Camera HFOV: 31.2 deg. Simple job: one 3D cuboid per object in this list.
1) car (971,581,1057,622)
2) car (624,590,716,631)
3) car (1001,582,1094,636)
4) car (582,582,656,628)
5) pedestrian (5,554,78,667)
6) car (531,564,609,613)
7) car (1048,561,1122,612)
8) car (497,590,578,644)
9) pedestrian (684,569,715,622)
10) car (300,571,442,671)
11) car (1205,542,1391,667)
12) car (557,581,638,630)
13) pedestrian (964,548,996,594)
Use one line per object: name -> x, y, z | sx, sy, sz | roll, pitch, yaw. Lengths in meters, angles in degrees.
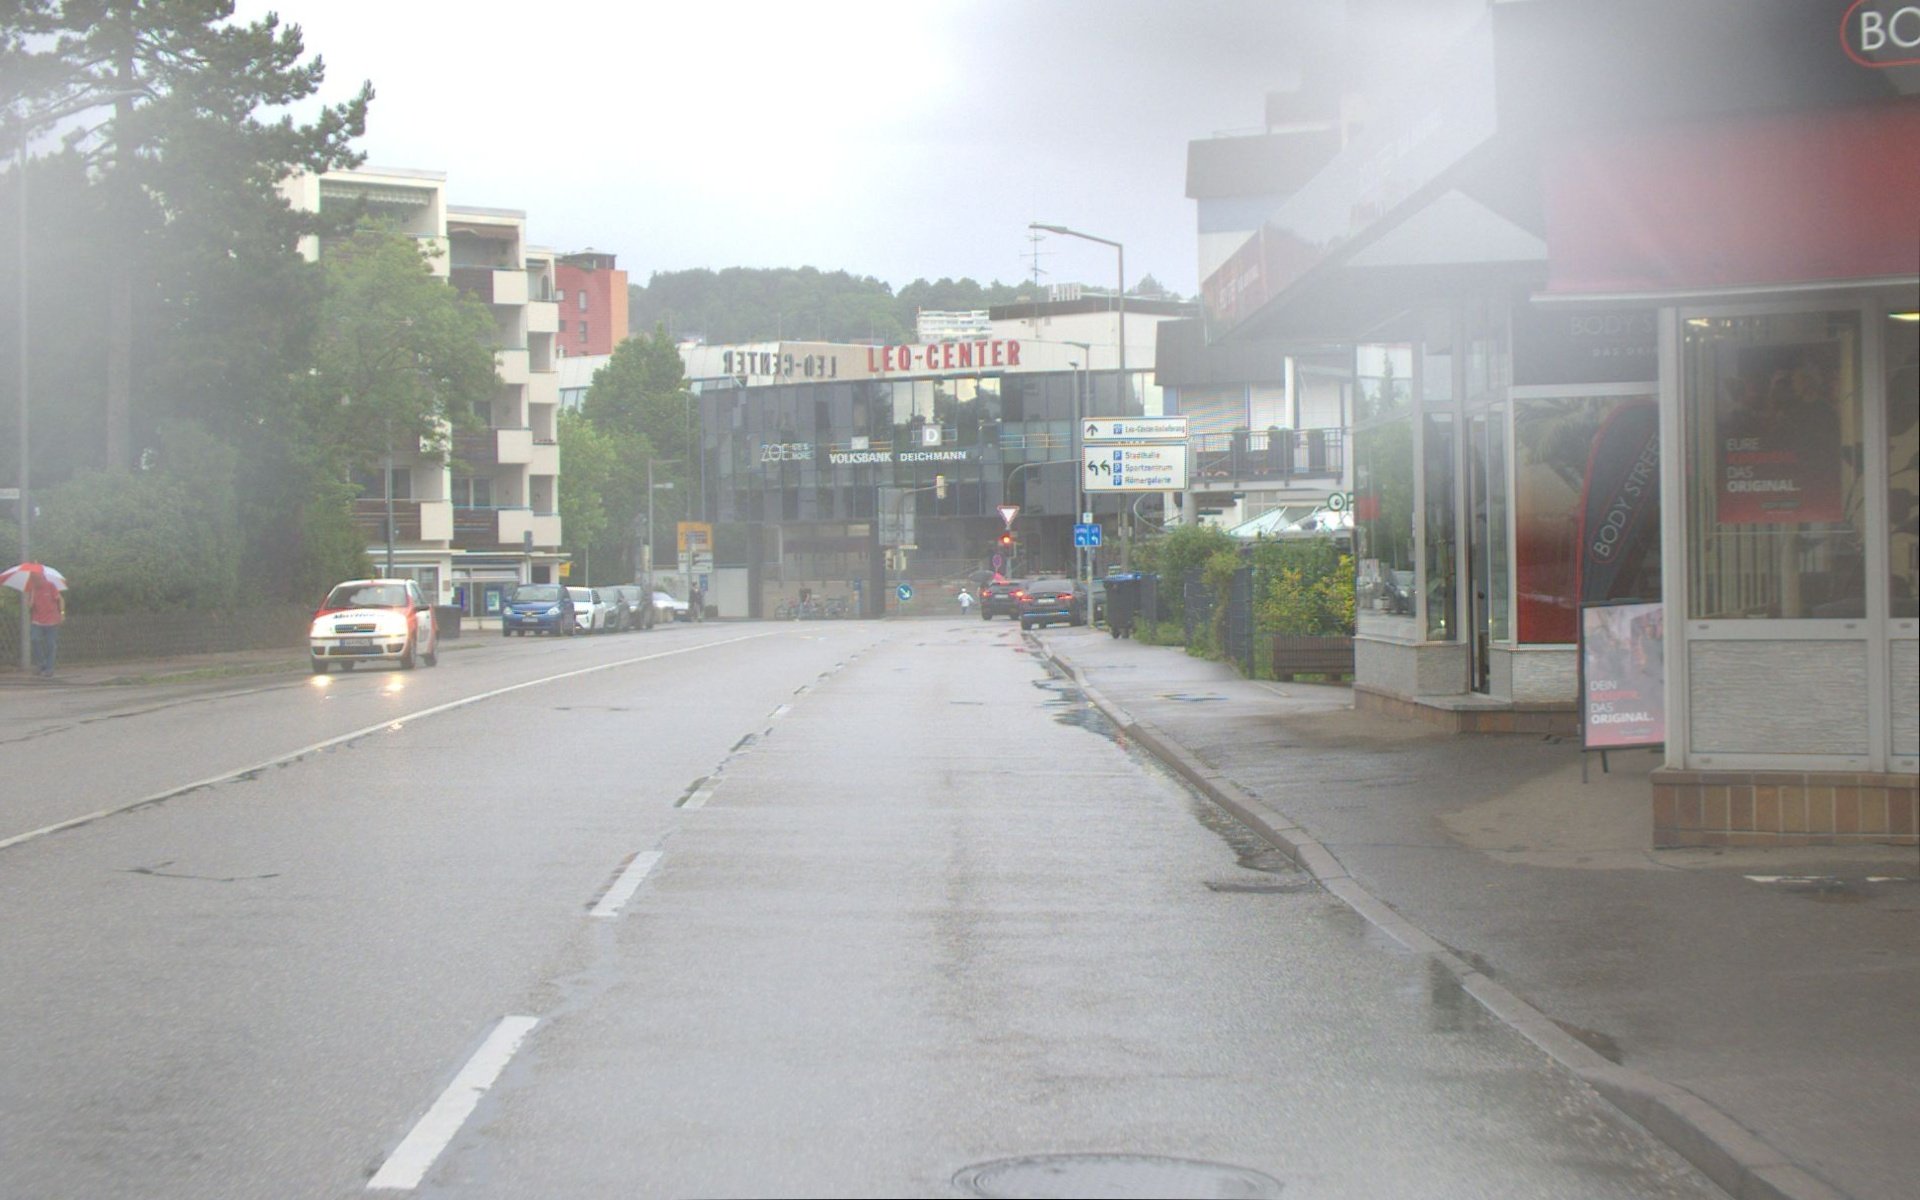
car -> 1.954, 0.040, 123.183 | 1.806, 1.414, 3.996 | -1, 0, 21
car -> -12.840, 0.458, 151.954 | 1.994, 1.507, 4.433 | 2, 2, -35
car -> 2.676, 0.293, 103.627 | 1.994, 1.528, 4.644 | 0, -1, 12
car -> -11.563, 0.162, 116.861 | 1.934, 1.536, 4.272 | 0, 0, 2
pedestrian -> -13.248, 0.156, 49.605 | 0.869, 1.601, 1.103 | 0, -1, -7
car -> -11.936, -0.361, 105.455 | 1.693, 1.459, 4.683 | 0, 0, 2
car -> 4.012, -0.428, 109.787 | 1.699, 1.481, 3.998 | -4, 0, 11
car -> -12.218, 0.477, 99.686 | 1.652, 1.516, 4.324 | 0, 0, 2
pedestrian -> -10.140, -0.165, 133.729 | 0.749, 2.007, 0.920 | 3, 0, 23
car -> -9.486, 0.313, 55.619 | 1.697, 1.404, 4.001 | -3, 2, -2
car -> 5.064, 0.044, 52.145 | 1.993, 1.779, 4.691 | -1, 0, -5
car -> -11.677, 0.162, 111.003 | 1.934, 1.536, 4.520 | 0, 0, 2
pedestrian -> 0.752, -1.088, 129.862 | 0.908, 1.653, 0.755 | 3, 1, -25
